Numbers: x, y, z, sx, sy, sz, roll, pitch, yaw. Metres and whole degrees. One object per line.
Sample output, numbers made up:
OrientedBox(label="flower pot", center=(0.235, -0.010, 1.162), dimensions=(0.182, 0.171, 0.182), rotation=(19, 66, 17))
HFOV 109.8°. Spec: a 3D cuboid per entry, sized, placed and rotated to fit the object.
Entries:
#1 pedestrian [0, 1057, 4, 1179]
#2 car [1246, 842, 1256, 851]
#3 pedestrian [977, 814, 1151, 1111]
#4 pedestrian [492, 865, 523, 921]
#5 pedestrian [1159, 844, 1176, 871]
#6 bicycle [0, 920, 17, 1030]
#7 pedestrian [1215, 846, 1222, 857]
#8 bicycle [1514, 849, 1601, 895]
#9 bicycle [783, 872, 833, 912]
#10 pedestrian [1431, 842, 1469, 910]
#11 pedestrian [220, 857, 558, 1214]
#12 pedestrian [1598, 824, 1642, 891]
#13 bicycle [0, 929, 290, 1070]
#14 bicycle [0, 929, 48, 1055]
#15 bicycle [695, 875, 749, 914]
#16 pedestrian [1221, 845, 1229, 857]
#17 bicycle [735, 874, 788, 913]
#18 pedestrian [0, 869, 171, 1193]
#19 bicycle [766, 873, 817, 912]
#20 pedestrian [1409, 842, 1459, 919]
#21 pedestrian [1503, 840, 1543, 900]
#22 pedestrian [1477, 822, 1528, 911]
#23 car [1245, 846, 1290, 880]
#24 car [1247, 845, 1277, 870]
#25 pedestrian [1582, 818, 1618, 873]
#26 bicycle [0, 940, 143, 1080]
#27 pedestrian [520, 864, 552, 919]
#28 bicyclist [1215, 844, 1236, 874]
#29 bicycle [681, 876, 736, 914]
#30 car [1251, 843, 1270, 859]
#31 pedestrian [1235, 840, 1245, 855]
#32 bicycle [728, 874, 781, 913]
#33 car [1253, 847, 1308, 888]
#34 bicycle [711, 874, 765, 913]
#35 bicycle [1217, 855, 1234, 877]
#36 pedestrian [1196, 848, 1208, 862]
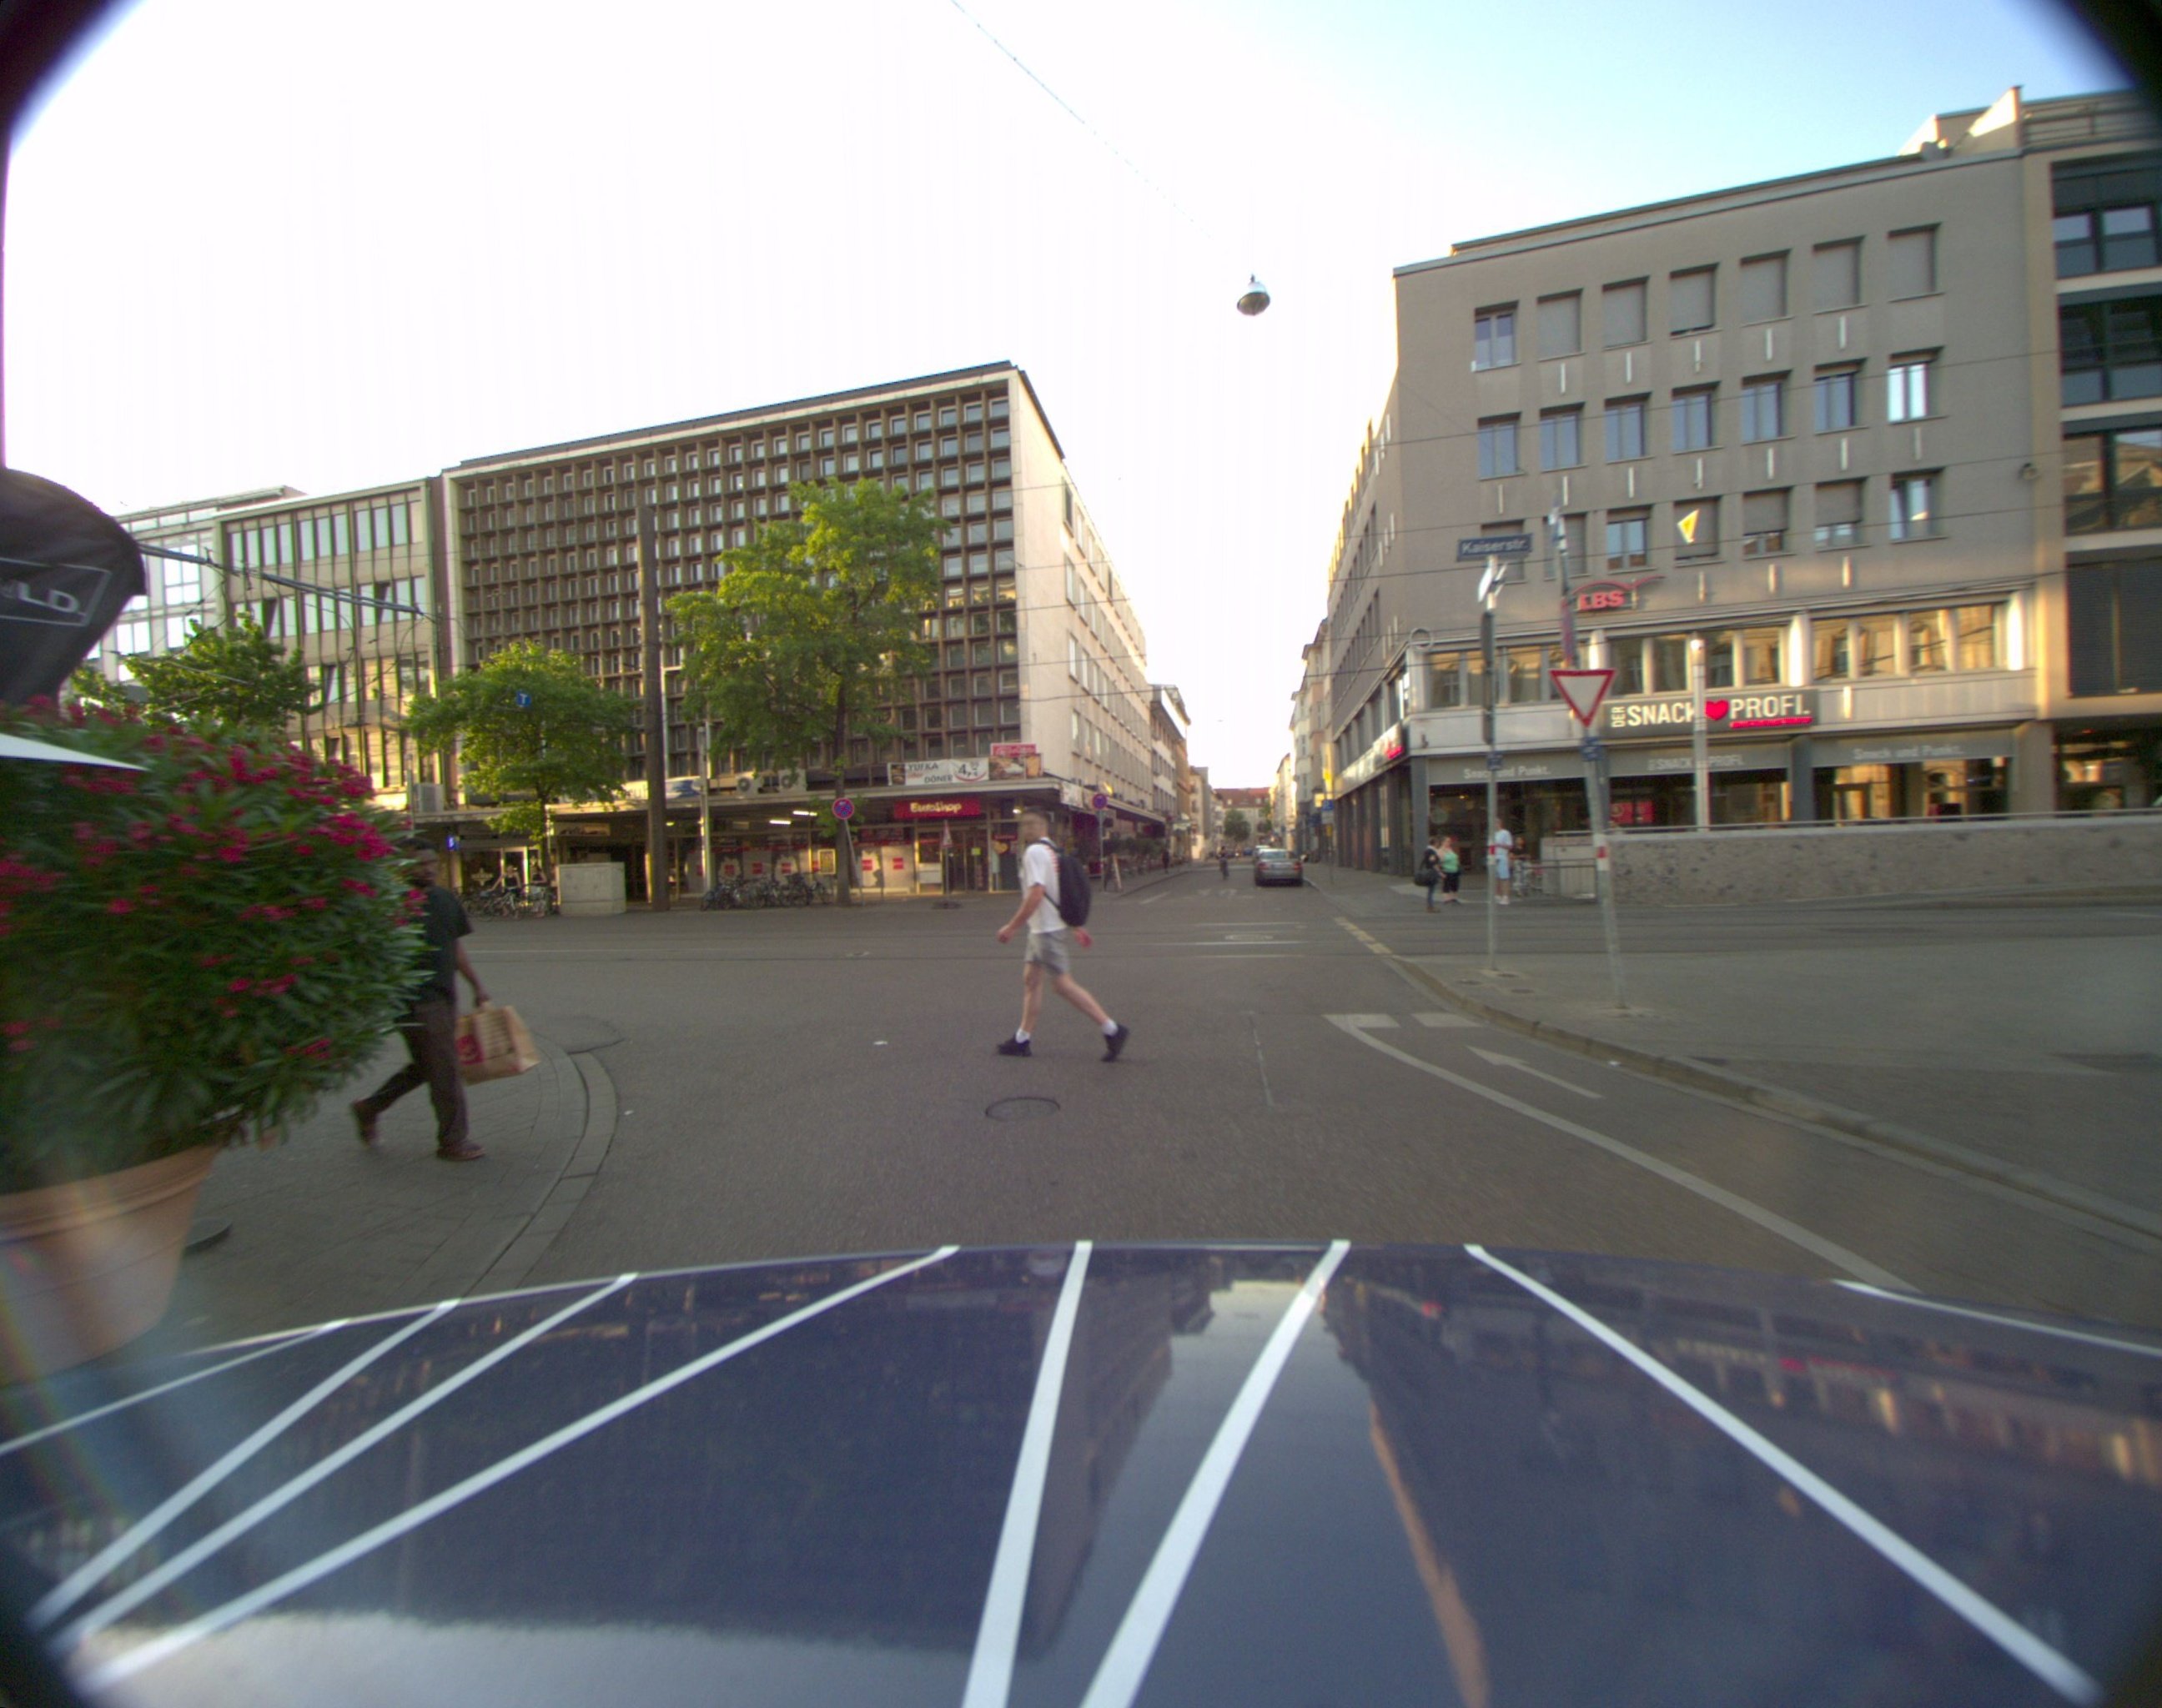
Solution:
OrientedBox(label="pedestrian", center=(-6.229, 0.974, 3.713), dimensions=(0.809, 1.527, 0.806), rotation=(-2, 0, 9))
OrientedBox(label="car", center=(33.157, -1.472, 148.452), dimensions=(1.797, 1.501, 4.004), rotation=(-1, 1, 14))
OrientedBox(label="pedestrian", center=(-0.127, 0.680, 5.331), dimensions=(1.042, 1.852, 1.016), rotation=(-2, 2, -3))
OrientedBox(label="pedestrian", center=(-17.743, 1.191, 23.509), dimensions=(0.534, 1.689, 0.604), rotation=(-2, 2, 42))
OrientedBox(label="pedestrian", center=(5.568, 0.218, 48.734), dimensions=(0.870, 1.652, 0.932), rotation=(-2, 1, 16))
OrientedBox(label="bicycle", center=(-13.584, 1.464, 8.444), dimensions=(0.724, 1.324, 1.923), rotation=(-2, -2, 8))
OrientedBox(label="pedestrian", center=(19.685, -0.366, 109.002), dimensions=(0.870, 1.652, 0.931), rotation=(-2, 1, 13))
OrientedBox(label="bicycle", center=(12.412, 0.477, 19.842), dimensions=(1.796, 1.101, 0.501), rotation=(-3, 0, 18))
OrientedBox(label="bicycle", center=(-8.339, 1.145, 23.280), dimensions=(0.488, 1.039, 1.779), rotation=(-2, 2, 13))
OrientedBox(label="pedestrian", center=(8.263, 0.480, 17.027), dimensions=(0.555, 1.485, 0.605), rotation=(-1, 1, 5))
OrientedBox(label="pedestrian", center=(-3.603, 0.891, 4.044), dimensions=(0.996, 1.688, 0.773), rotation=(-2, 1, 5))
OrientedBox(label="pedestrian", center=(14.072, 0.096, 19.859), dimensions=(0.708, 1.715, 0.716), rotation=(-1, 1, 11))
OrientedBox(label="bicycle", center=(-9.499, 1.405, 7.782), dimensions=(0.665, 1.102, 1.860), rotation=(-2, -1, 11))
OrientedBox(label="bicycle", center=(-11.138, 1.372, 6.909), dimensions=(0.762, 1.215, 1.923), rotation=(-2, -2, 8))
OrientedBox(label="bicycle", center=(-11.288, 1.257, 23.962), dimensions=(0.488, 1.039, 1.779), rotation=(-2, 2, 13))
OrientedBox(label="pedestrian", center=(20.586, -0.418, 108.632), dimensions=(0.976, 1.652, 0.979), rotation=(-2, 1, 13))
OrientedBox(label="bicycle", center=(-9.929, 1.200, 23.675), dimensions=(0.488, 1.039, 1.779), rotation=(-2, 2, 13))
OrientedBox(label="pedestrian", center=(-6.040, 0.945, 4.298), dimensions=(0.809, 1.685, 0.806), rotation=(-2, 0, 9))
OrientedBox(label="bicycle", center=(-8.896, 1.169, 23.443), dimensions=(0.488, 1.039, 1.779), rotation=(-2, 2, 13))
OrientedBox(label="pedestrian", center=(7.256, 0.532, 15.627), dimensions=(0.606, 1.533, 0.685), rotation=(-2, 1, -29))
OrientedBox(label="pedestrian", center=(10.775, 0.384, 18.529), dimensions=(0.556, 1.425, 0.683), rotation=(-2, 1, -39))
OrientedBox(label="pedestrian", center=(9.299, 0.274, 16.801), dimensions=(0.708, 1.915, 0.776), rotation=(-1, 1, 5))
OrientedBox(label="car", center=(8.920, 0.405, 36.606), dimensions=(1.797, 1.501, 4.136), rotation=(-1, 1, 10))
OrientedBox(label="car", center=(11.697, 0.213, 49.050), dimensions=(1.797, 1.501, 4.004), rotation=(-1, 1, 14))
OrientedBox(label="pedestrian", center=(16.500, -0.268, 24.166), dimensions=(0.708, 1.715, 0.716), rotation=(-1, 1, 11))
OrientedBox(label="bicycle", center=(-9.509, 1.374, 6.434), dimensions=(0.665, 1.102, 1.860), rotation=(-2, -1, 11))
OrientedBox(label="pedestrian", center=(-17.101, 1.163, 23.846), dimensions=(0.534, 1.689, 0.604), rotation=(-2, 2, 42))
OrientedBox(label="bicyclist", center=(7.387, 0.239, 38.960), dimensions=(0.998, 1.493, 0.858), rotation=(-2, 0, 11))
OrientedBox(label="bicycle", center=(-11.765, 1.273, 24.073), dimensions=(0.488, 1.039, 1.779), rotation=(-2, 2, 13))
OrientedBox(label="car", center=(17.740, -0.306, 74.981), dimensions=(1.797, 1.501, 4.004), rotation=(-1, 1, 14))
OrientedBox(label="pedestrian", center=(19.035, -0.792, 90.927), dimensions=(0.869, 1.652, 0.932), rotation=(-2, 1, 29))
OrientedBox(label="bicycle", center=(-10.164, 1.215, 23.731), dimensions=(0.488, 1.039, 1.779), rotation=(-2, 2, 13))
OrientedBox(label="car", center=(7.977, 0.492, 30.693), dimensions=(1.797, 1.501, 4.136), rotation=(-1, 1, 10))
OrientedBox(label="bicycle", center=(-10.733, 1.224, 23.835), dimensions=(0.488, 1.039, 1.779), rotation=(-2, 2, 13))
OrientedBox(label="bicycle", center=(7.407, 0.622, 38.993), dimensions=(0.816, 1.067, 2.115), rotation=(-2, 0, 11))
OrientedBox(label="pedestrian", center=(14.978, 0.125, 94.312), dimensions=(1.297, 1.652, 1.015), rotation=(-2, 1, 15))
